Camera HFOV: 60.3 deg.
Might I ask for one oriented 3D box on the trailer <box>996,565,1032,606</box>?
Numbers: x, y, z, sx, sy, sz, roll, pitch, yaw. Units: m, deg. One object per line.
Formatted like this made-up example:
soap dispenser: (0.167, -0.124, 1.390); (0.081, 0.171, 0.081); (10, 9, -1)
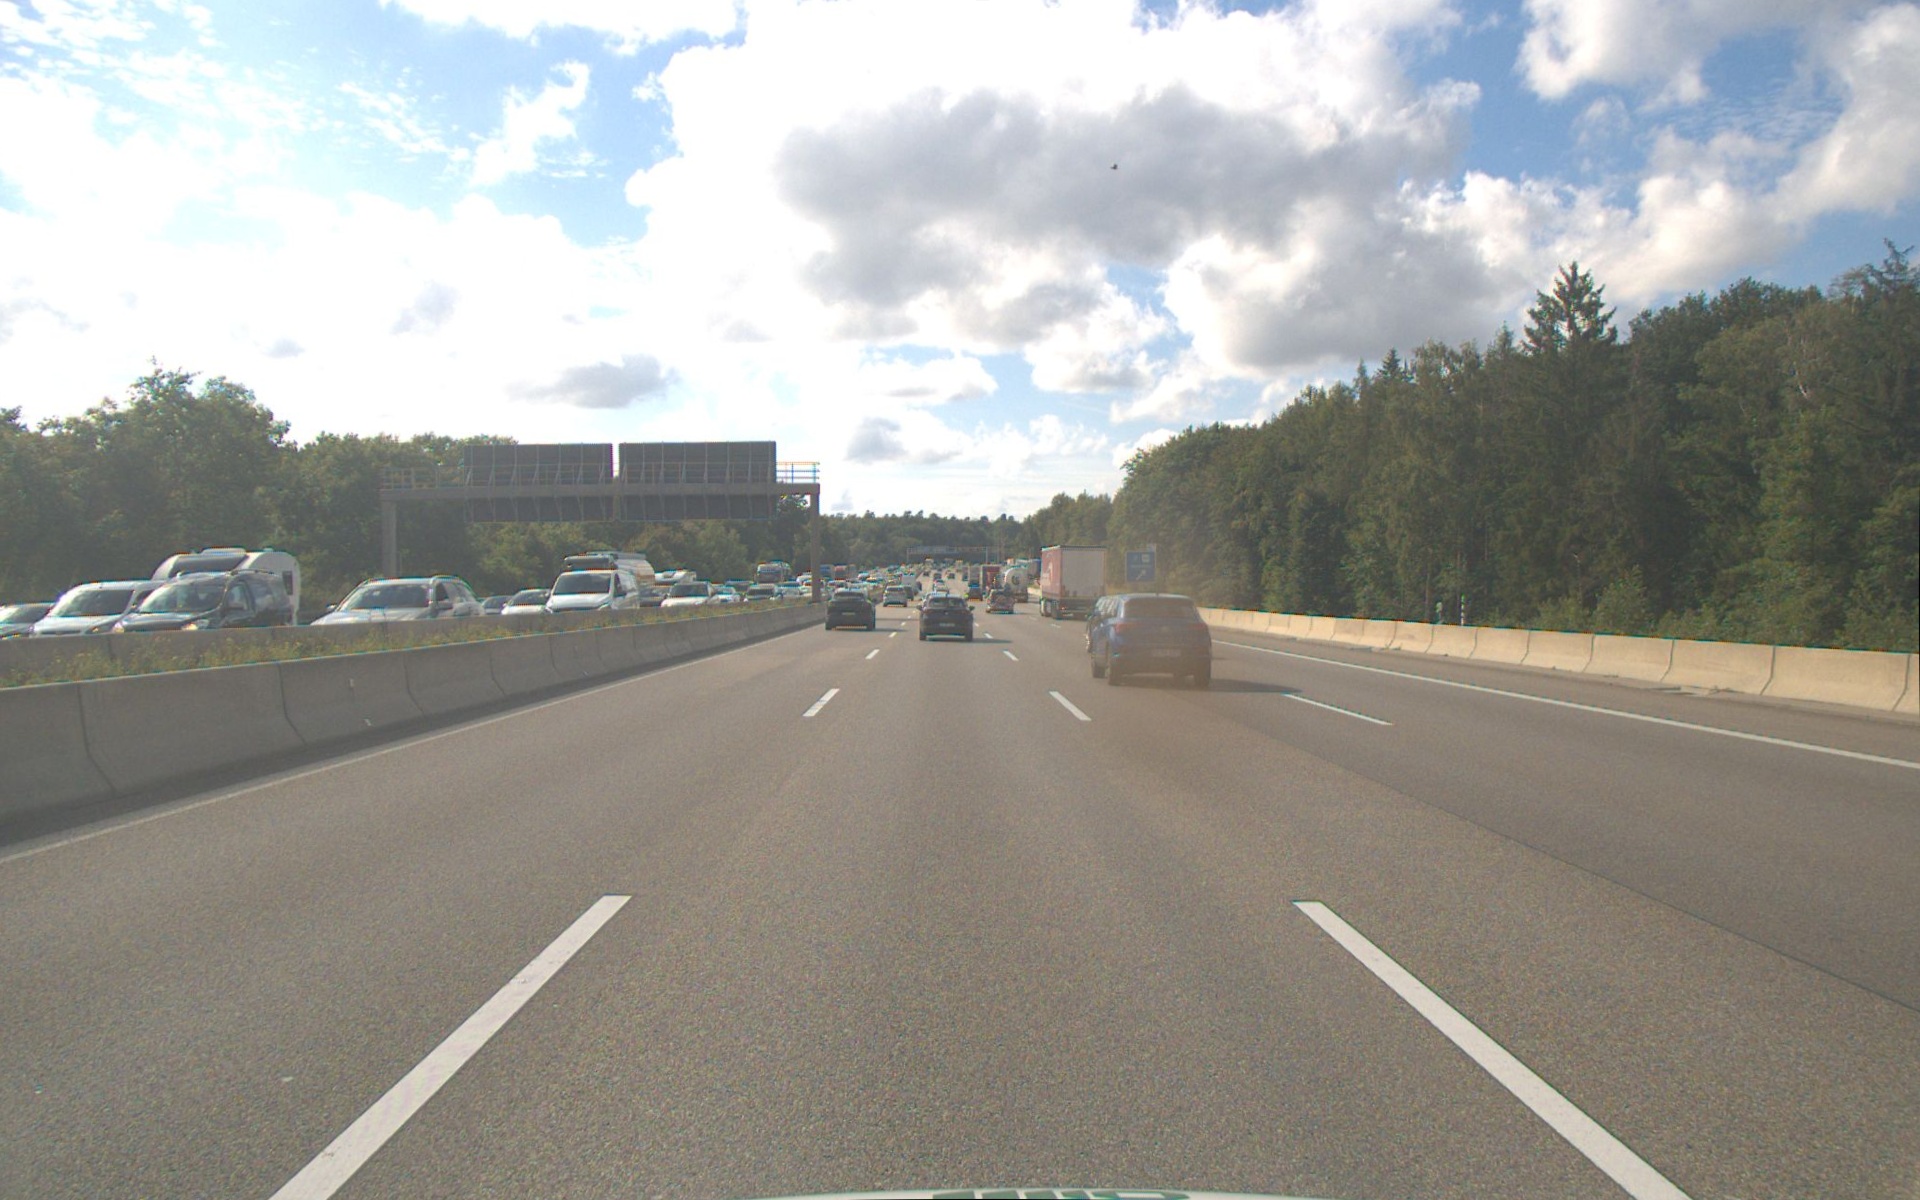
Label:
trailer: (5.470, -1.426, 170.503); (2.975, 4.086, 12.241); (0, 0, -1)

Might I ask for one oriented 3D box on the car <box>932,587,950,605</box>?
car: (-2.220, -0.468, 190.890); (1.953, 2.049, 3.999); (-1, 0, -1)

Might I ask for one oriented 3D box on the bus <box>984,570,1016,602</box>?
bus: (2.671, -0.899, 110.329); (1.953, 2.049, 3.999); (1, 0, -1)

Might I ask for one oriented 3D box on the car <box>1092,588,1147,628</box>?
car: (6.312, 0.300, 65.747); (1.680, 1.537, 4.301); (0, 0, -1)

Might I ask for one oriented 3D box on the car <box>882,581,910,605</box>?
car: (-5.146, -0.554, 133.424); (2.111, 1.807, 3.999); (1, 0, -1)

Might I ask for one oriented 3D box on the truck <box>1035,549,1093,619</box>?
truck: (6.325, -0.912, 101.493); (3.018, 4.134, 6.068); (1, -1, -1)

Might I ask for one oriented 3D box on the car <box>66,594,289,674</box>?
car: (-13.529, 0.543, 28.926); (1.795, 1.252, 4.565); (1, 0, -2)

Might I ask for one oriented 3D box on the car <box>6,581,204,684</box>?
car: (-17.366, 0.604, 33.848); (1.795, 1.949, 4.480); (1, 0, -2)

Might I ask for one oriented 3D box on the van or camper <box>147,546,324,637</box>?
van or camper: (-17.483, -0.207, 40.193); (2.237, 2.046, 4.687); (1, 0, -1)

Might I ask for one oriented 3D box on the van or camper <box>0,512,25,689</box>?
van or camper: (-17.114, -0.075, 24.356); (2.419, 2.940, 7.480); (1, -1, -1)

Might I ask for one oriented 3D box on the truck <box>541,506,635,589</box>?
truck: (-18.619, -2.554, 83.200); (3.348, 3.968, 6.799); (0, 0, -2)

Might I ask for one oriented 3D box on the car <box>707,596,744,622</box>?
car: (-14.809, 0.563, 104.475); (1.795, 1.564, 4.242); (1, 0, -2)

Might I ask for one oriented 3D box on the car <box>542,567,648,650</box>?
car: (-9.950, 0.200, 45.512); (1.795, 2.098, 5.499); (-1, 0, -1)

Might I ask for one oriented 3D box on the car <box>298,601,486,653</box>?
car: (-9.110, 0.408, 26.893); (1.614, 0.737, 4.446); (1, 0, -2)

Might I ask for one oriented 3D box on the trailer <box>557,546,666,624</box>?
trailer: (-18.784, -0.818, 90.155); (3.342, 3.895, 13.258); (1, 0, -1)

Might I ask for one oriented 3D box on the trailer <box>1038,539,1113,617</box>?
trailer: (6.453, -1.125, 94.641); (2.977, 4.106, 13.886); (1, 0, -1)

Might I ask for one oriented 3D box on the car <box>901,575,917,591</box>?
car: (-6.445, -2.175, 211.064); (1.953, 2.049, 3.999); (1, 0, -1)

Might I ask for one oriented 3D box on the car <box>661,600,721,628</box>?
car: (-10.085, 0.516, 62.242); (1.610, 0.956, 4.487); (1, 0, -2)

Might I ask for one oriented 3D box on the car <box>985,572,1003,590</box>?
car: (4.180, -2.311, 203.083); (1.953, 2.049, 3.999); (1, 0, -1)

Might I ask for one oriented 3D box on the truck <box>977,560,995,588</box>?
truck: (3.543, -3.539, 228.051); (2.310, 3.635, 11.266); (1, 0, 0)

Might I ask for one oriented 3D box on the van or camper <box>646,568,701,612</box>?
van or camper: (-18.518, -0.586, 107.352); (2.277, 2.689, 7.395); (1, 0, -1)

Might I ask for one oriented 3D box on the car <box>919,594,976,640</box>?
car: (-0.435, 0.527, 53.708); (1.699, 1.389, 3.998); (1, 0, -2)

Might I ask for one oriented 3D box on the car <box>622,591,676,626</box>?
car: (-14.607, 0.375, 77.777); (1.795, 1.564, 4.242); (1, 0, -2)

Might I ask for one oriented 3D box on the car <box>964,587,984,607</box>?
car: (1.472, -0.352, 175.451); (1.953, 2.049, 3.999); (1, 0, -1)

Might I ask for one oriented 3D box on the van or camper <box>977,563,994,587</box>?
van or camper: (3.608, -3.492, 235.255); (2.303, 3.199, 5.710); (1, 0, 0)

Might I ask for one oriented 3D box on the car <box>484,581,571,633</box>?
car: (-13.980, 0.212, 53.680); (1.795, 1.564, 4.242); (1, 0, -2)

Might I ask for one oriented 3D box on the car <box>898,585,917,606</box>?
car: (-5.397, -0.425, 170.761); (1.953, 2.049, 3.999); (1, 0, -1)

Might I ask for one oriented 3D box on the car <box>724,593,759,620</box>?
car: (-14.796, 0.416, 111.961); (1.763, 1.660, 4.661); (2, 0, -1)

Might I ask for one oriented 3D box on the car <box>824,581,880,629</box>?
car: (-4.232, 0.187, 65.120); (1.953, 1.807, 3.999); (1, 0, -1)

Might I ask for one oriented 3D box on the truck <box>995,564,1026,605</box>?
truck: (5.345, -1.644, 176.681); (2.984, 4.233, 7.125); (0, 0, -1)

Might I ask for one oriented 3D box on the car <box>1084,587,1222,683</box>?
car: (3.348, 0.606, 29.546); (1.885, 1.568, 4.644); (1, -1, -1)

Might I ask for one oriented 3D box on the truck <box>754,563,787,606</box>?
truck: (-19.490, -1.621, 170.365); (2.795, 4.308, 5.712); (1, 0, -1)
